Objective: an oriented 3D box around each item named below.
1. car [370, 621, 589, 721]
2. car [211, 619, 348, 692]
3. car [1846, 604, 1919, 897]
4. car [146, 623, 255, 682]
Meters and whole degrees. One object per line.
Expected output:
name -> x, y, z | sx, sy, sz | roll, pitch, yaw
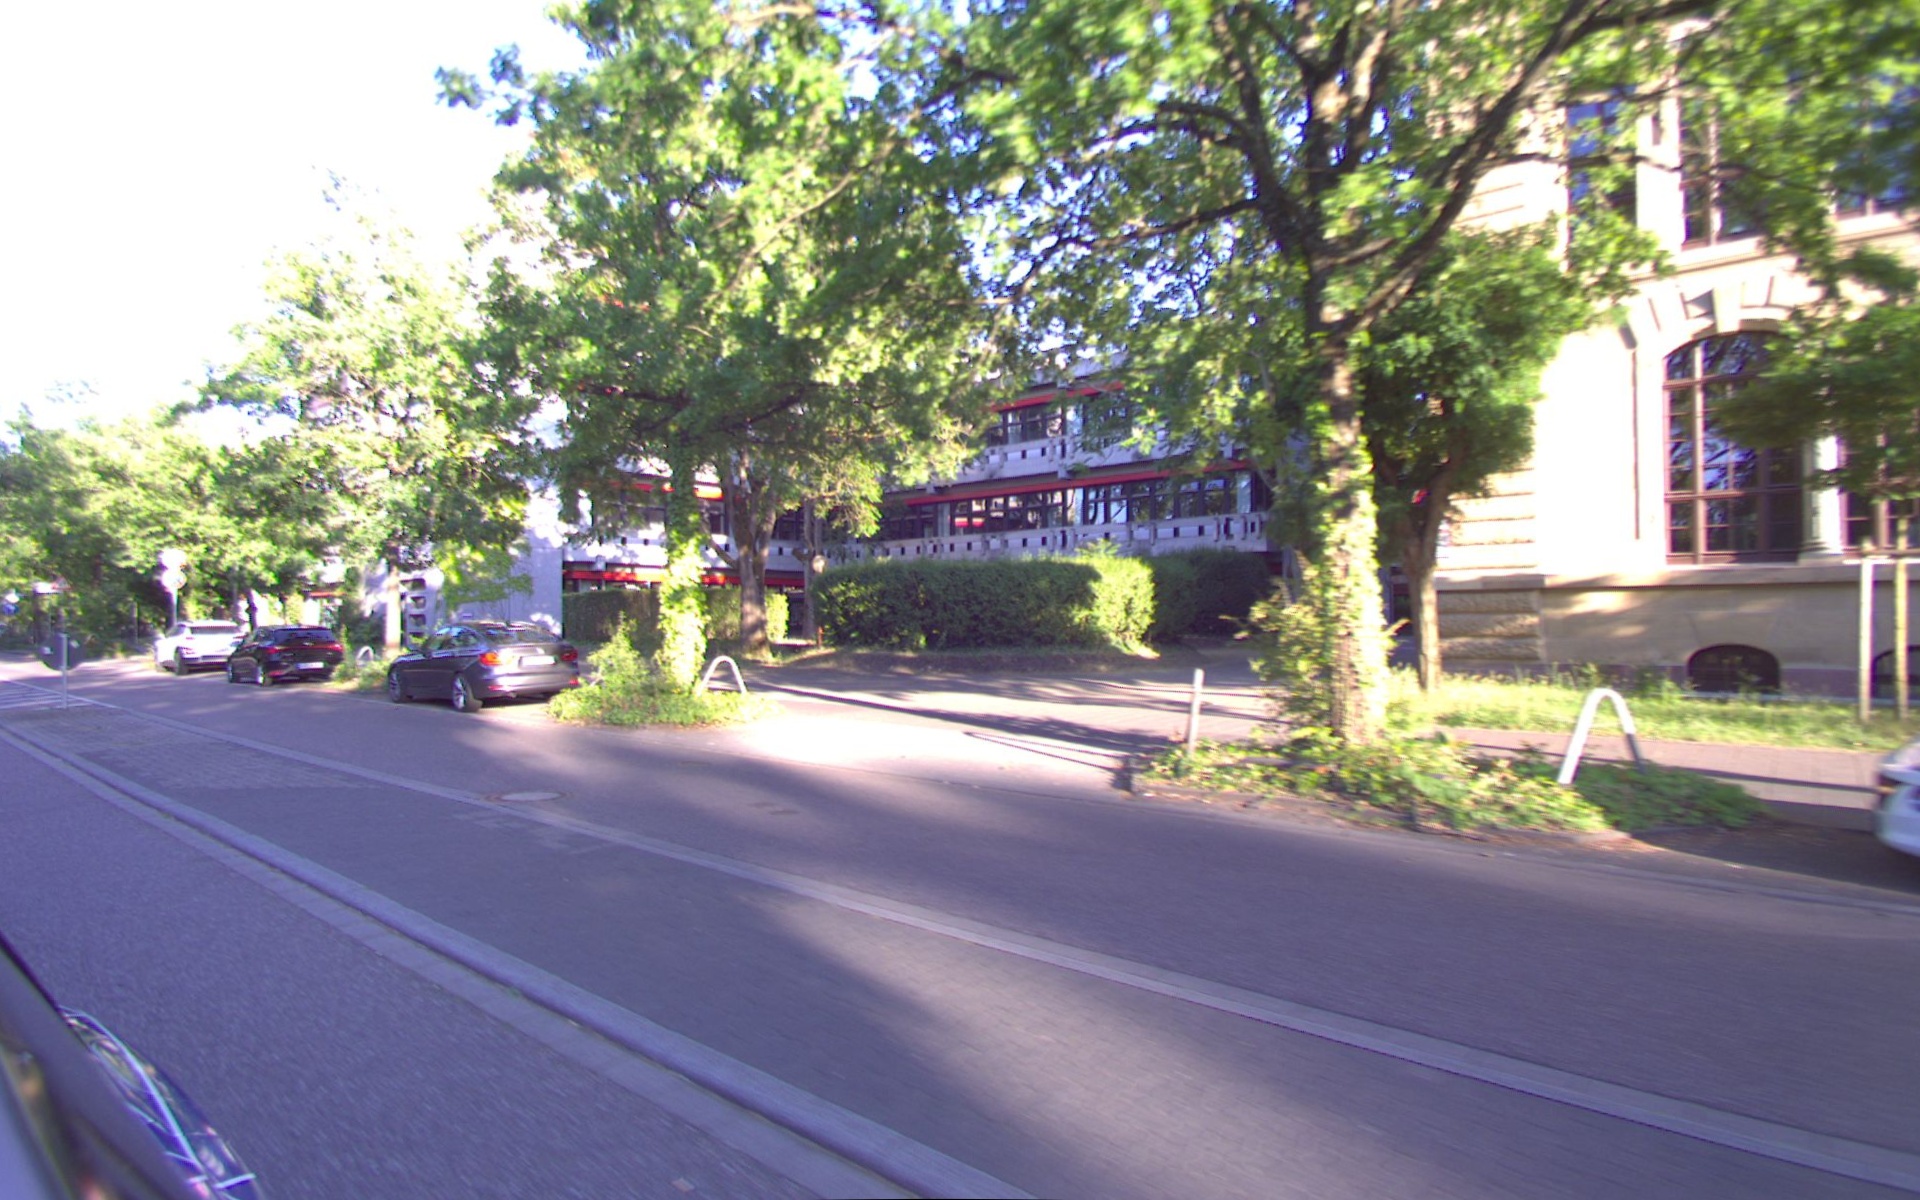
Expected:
car -> -8.674, 1.160, 18.048 | 4.861, 1.522, 1.783 | -1, -1, 42
car -> -16.887, 1.322, 25.054 | 4.144, 1.628, 1.762 | -1, -1, 40
car -> 6.799, 0.747, 4.733 | 3.922, 1.507, 1.601 | -2, -1, 40
car -> -22.918, 1.531, 30.489 | 4.144, 1.628, 1.785 | -1, -2, 40
